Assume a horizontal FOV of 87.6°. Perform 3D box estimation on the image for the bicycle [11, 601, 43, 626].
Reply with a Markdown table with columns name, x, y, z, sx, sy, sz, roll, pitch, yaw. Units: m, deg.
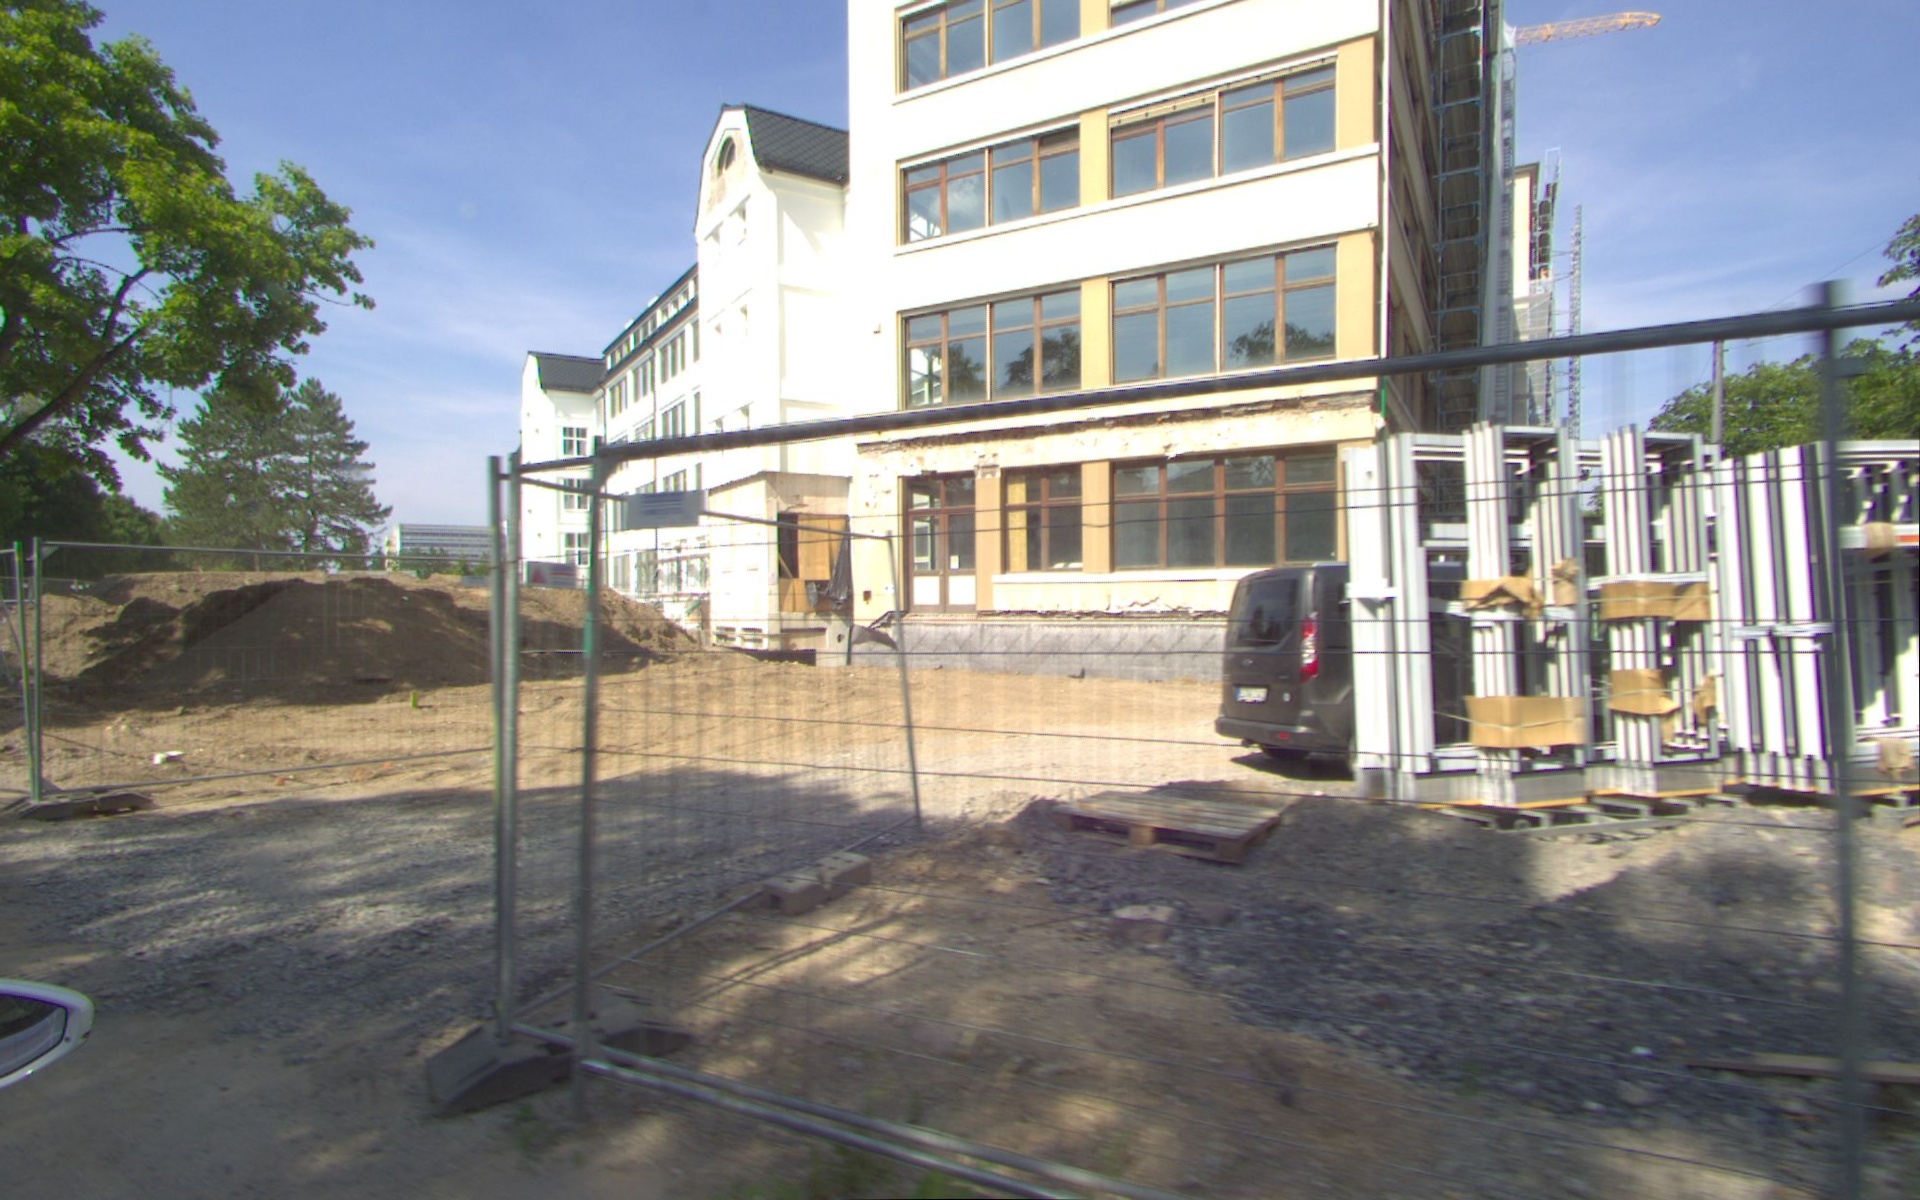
| name | x | y | z | sx | sy | sz | roll | pitch | yaw |
| --- | --- | --- | --- | --- | --- | --- | --- | --- | --- |
| bicycle | -50.603 | 0.735 | 54.341 | 0.808 | 1.301 | 2.729 | 0 | 0 | -33 |

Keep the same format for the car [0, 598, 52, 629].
| name | x | y | z | sx | sy | sz | roll | pitch | yaw |
| --- | --- | --- | --- | --- | --- | --- | --- | --- | --- |
| car | -55.938 | 0.790 | 58.526 | 3.943 | 1.795 | 1.757 | 0 | 1 | -31 |

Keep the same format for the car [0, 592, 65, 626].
| name | x | y | z | sx | sy | sz | roll | pitch | yaw |
| --- | --- | --- | --- | --- | --- | --- | --- | --- | --- |
| car | -57.452 | 0.558 | 61.094 | 3.943 | 2.041 | 1.757 | 0 | 1 | -31 |

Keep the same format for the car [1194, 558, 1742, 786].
| name | x | y | z | sx | sy | sz | roll | pitch | yaw |
| --- | --- | --- | --- | --- | --- | --- | --- | --- | --- |
| car | 4.547 | 0.580 | 9.264 | 4.232 | 1.803 | 1.920 | 0 | -1 | -11 |
